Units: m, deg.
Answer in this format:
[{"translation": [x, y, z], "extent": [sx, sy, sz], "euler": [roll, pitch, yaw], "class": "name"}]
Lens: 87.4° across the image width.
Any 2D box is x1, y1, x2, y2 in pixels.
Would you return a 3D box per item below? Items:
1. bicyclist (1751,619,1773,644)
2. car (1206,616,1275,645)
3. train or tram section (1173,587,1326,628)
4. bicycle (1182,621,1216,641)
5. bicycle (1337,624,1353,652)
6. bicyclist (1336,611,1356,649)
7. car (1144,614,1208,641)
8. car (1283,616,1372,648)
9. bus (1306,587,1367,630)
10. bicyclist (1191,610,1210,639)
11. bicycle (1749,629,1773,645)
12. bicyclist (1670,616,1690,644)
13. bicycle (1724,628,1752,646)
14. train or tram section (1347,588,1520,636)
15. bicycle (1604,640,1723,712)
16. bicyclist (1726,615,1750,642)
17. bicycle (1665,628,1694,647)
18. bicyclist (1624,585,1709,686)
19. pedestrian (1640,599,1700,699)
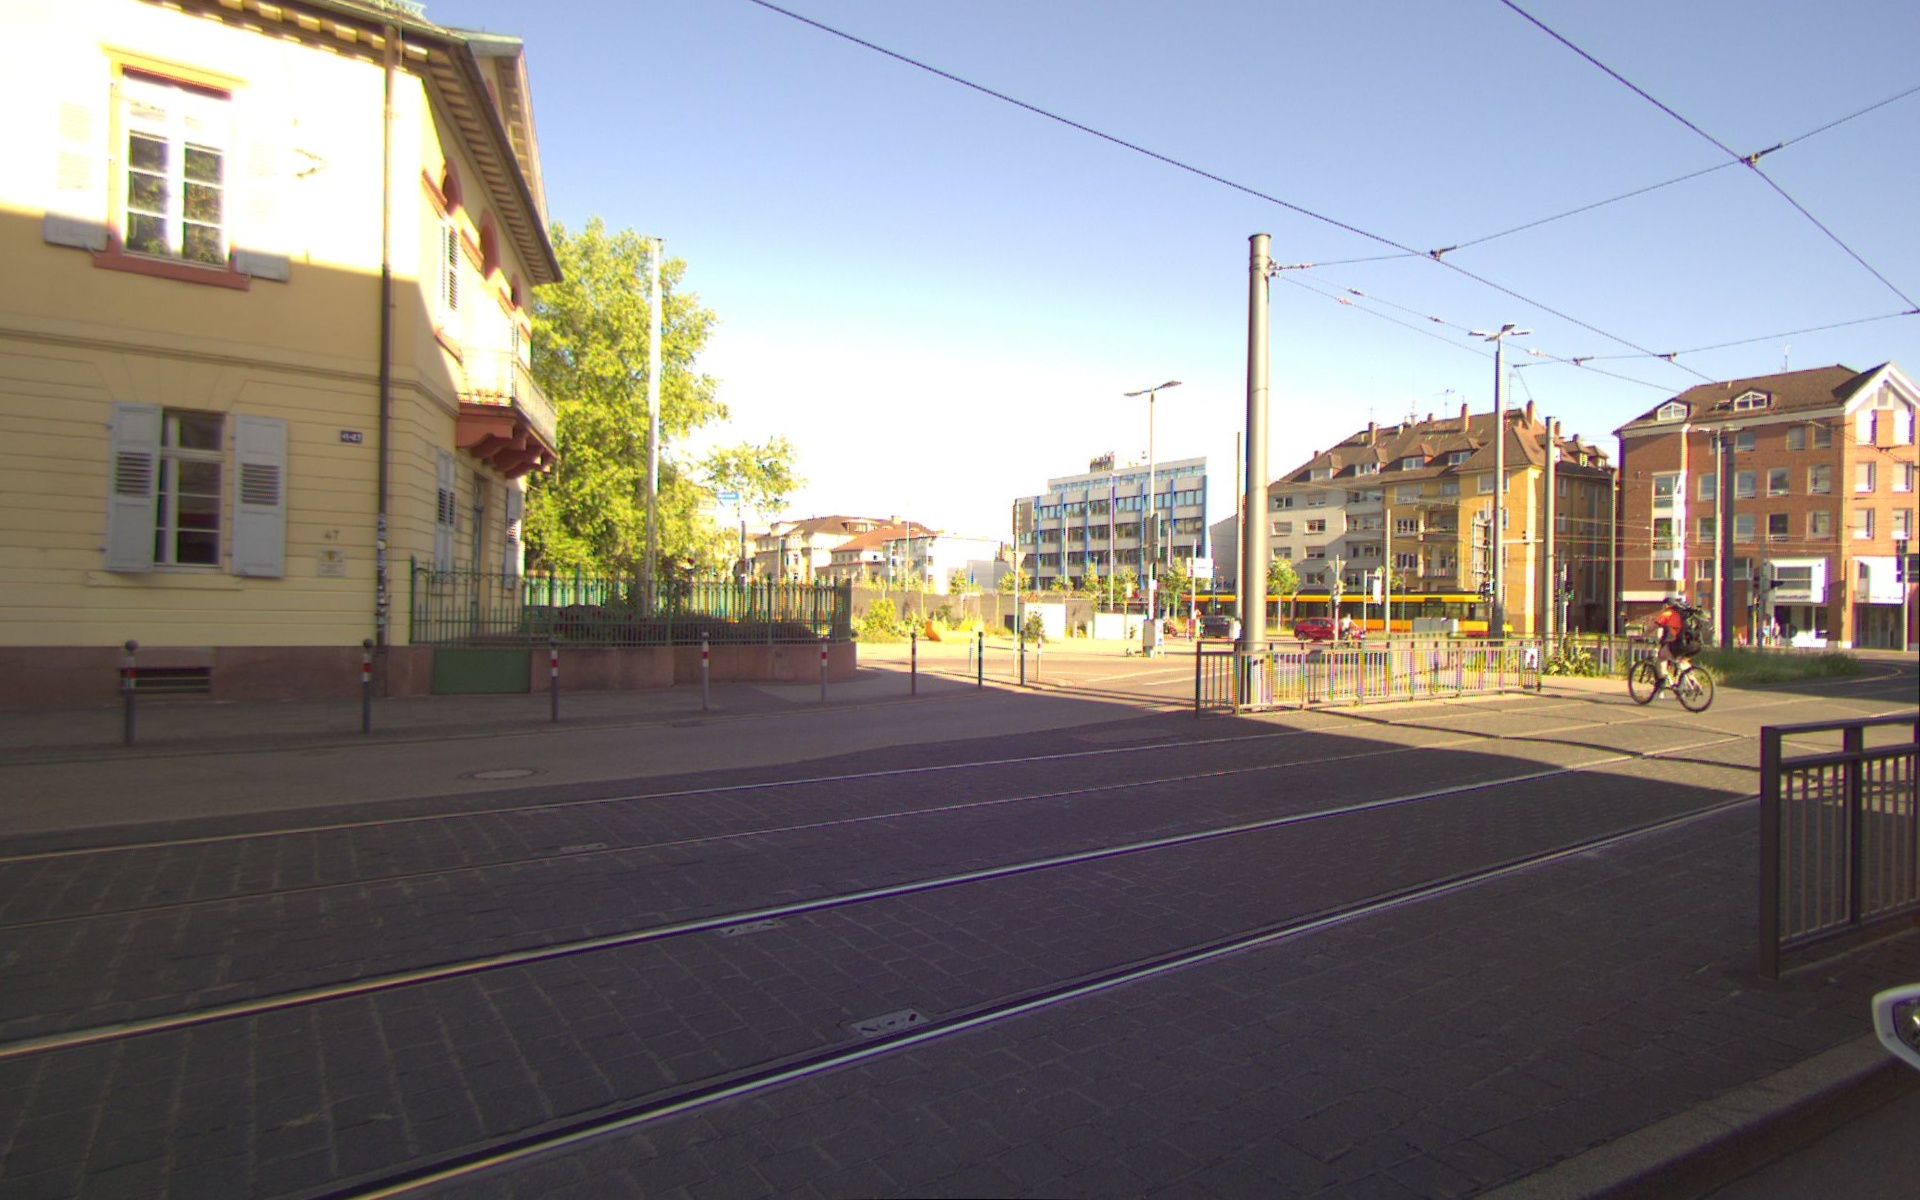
[{"translation": [50.379, 1.978, 63.123], "extent": [0.958, 1.490, 0.702], "euler": [1, 0, -22], "class": "bicyclist"}, {"translation": [18.002, 1.934, 64.582], "extent": [1.762, 1.694, 3.955], "euler": [2, 0, -39], "class": "car"}, {"translation": [24.237, 0.538, 85.197], "extent": [2.708, 3.172, 13.573], "euler": [2, 0, -36], "class": "train or tram section"}, {"translation": [15.383, 1.988, 64.758], "extent": [0.542, 1.230, 2.168], "euler": [2, 0, -41], "class": "bicycle"}, {"translation": [18.480, 1.812, 48.271], "extent": [0.476, 1.238, 1.856], "euler": [2, 0, 14], "class": "bicycle"}, {"translation": [18.594, 1.421, 48.396], "extent": [0.743, 1.783, 0.753], "euler": [2, 0, 13], "class": "bicyclist"}, {"translation": [14.743, 1.863, 68.574], "extent": [1.895, 1.708, 3.916], "euler": [2, 0, -41], "class": "car"}, {"translation": [21.868, 1.879, 59.900], "extent": [1.984, 1.723, 4.545], "euler": [2, 0, -41], "class": "car"}, {"translation": [29.345, 0.659, 78.381], "extent": [2.746, 3.172, 3.489], "euler": [2, 0, -38], "class": "bus"}, {"translation": [15.496, 1.571, 64.665], "extent": [0.785, 1.832, 0.892], "euler": [2, 0, -42], "class": "bicyclist"}, {"translation": [50.364, 2.335, 63.124], "extent": [1.669, 0.994, 0.403], "euler": [2, 0, -22], "class": "bicycle"}, {"translation": [39.670, 1.642, 55.361], "extent": [0.688, 1.523, 0.630], "euler": [2, 0, -30], "class": "bicyclist"}, {"translation": [45.580, 2.165, 58.830], "extent": [2.220, 0.984, 0.521], "euler": [2, 0, -31], "class": "bicycle"}, {"translation": [34.005, 0.772, 72.695], "extent": [2.783, 3.172, 11.133], "euler": [2, 0, -41], "class": "train or tram section"}, {"translation": [11.102, 1.177, 15.903], "extent": [0.397, 1.007, 1.595], "euler": [2, 0, -19], "class": "bicycle"}, {"translation": [45.571, 1.648, 58.813], "extent": [0.688, 1.523, 0.894], "euler": [2, 0, -30], "class": "bicyclist"}, {"translation": [39.678, 2.059, 55.364], "extent": [2.220, 0.984, 0.444], "euler": [2, 0, -31], "class": "bicycle"}, {"translation": [11.126, 0.547, 15.852], "extent": [0.386, 1.542, 1.039], "euler": [2, 0, -19], "class": "bicyclist"}, {"translation": [12.413, 0.847, 17.563], "extent": [0.766, 1.703, 0.587], "euler": [2, 0, -33], "class": "pedestrian"}]
